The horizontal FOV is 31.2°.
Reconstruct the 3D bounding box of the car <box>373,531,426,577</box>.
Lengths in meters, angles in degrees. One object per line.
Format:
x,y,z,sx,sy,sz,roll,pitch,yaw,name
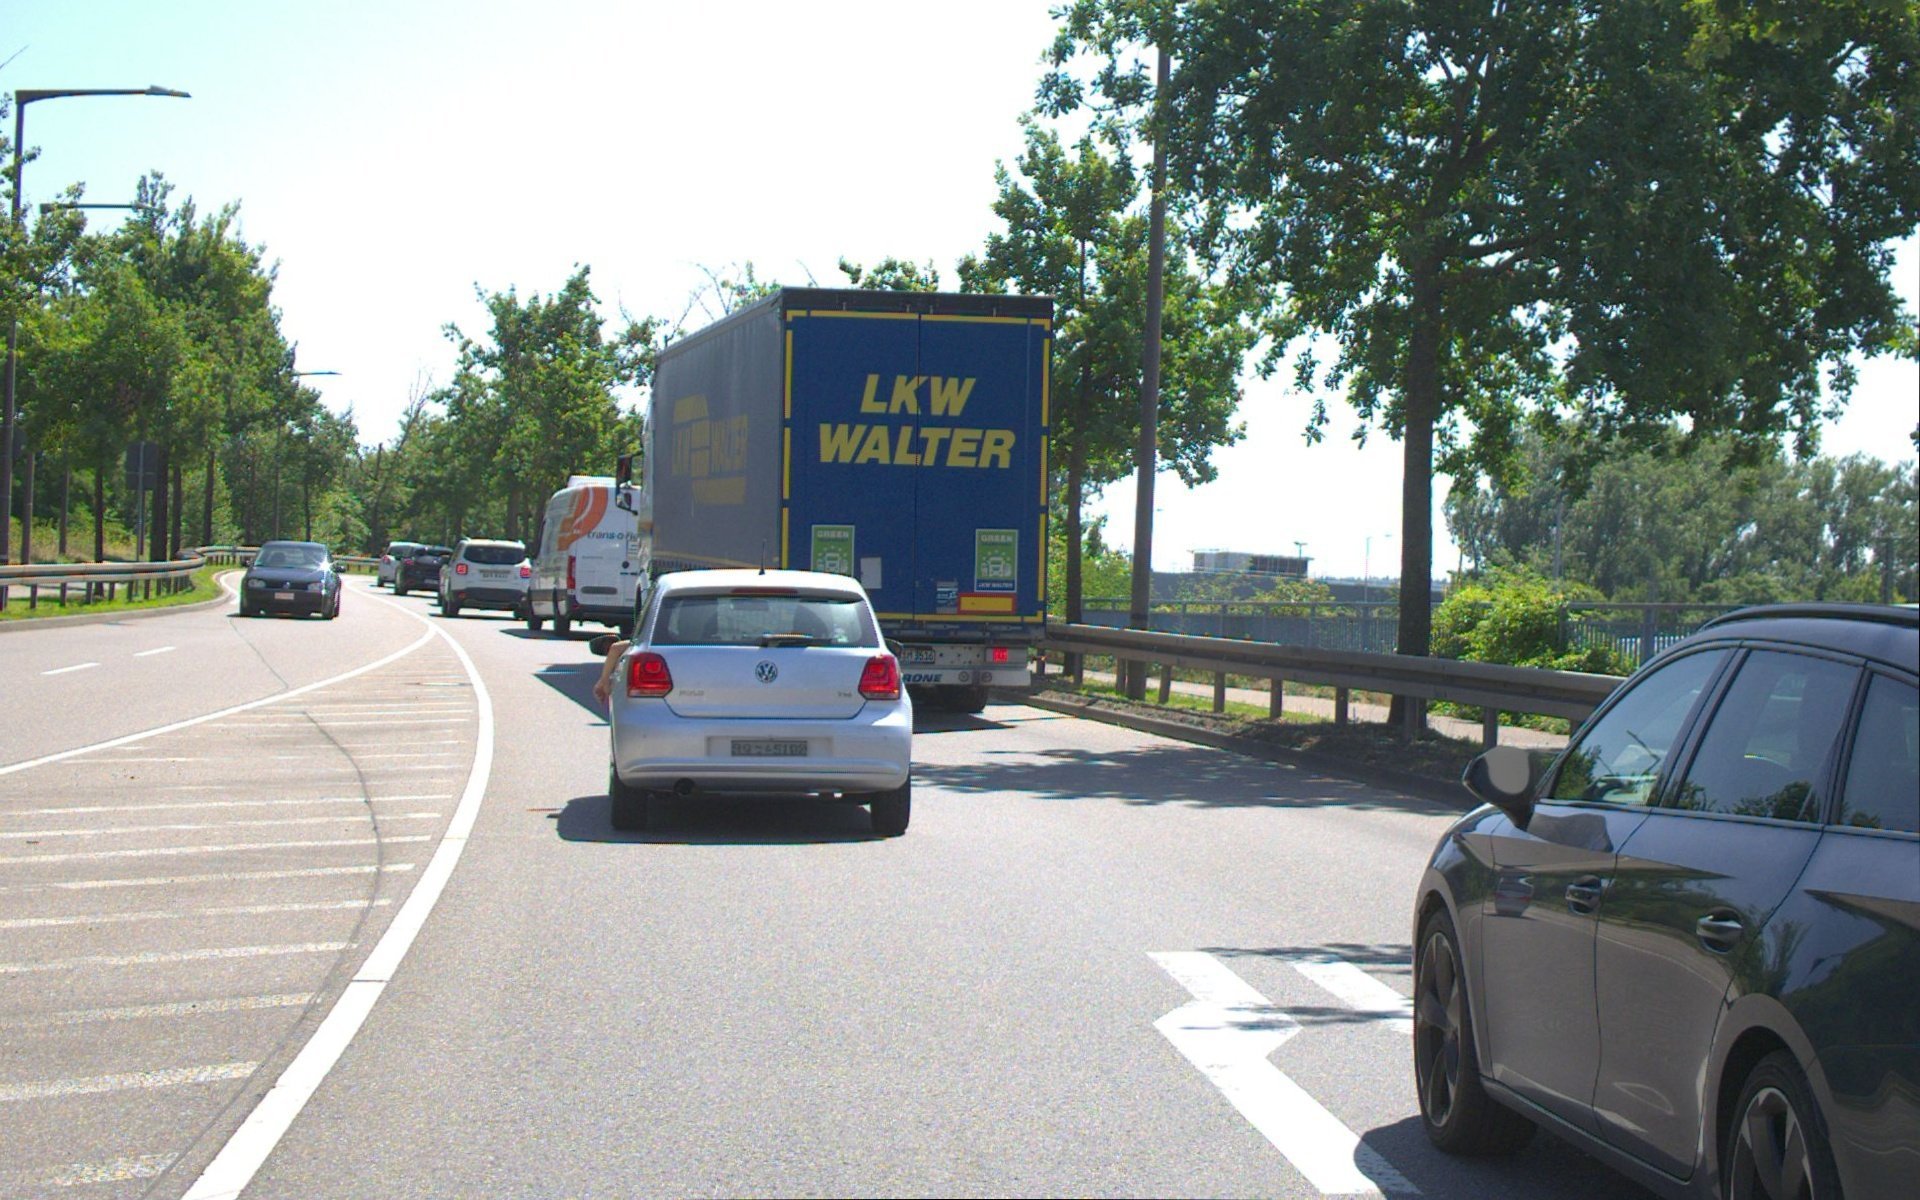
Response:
-17.980,-1.463,110.389,1.607,1.355,3.663,2,0,-9,car

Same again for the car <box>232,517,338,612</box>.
-12.721,-0.693,64.962,1.678,1.665,3.756,1,2,-7,car

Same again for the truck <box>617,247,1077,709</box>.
-1.836,-1.098,39.871,2.832,4.184,16.478,2,0,-10,truck

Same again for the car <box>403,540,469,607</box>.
-14.707,-0.720,96.458,1.721,1.720,4.001,2,-1,-9,car

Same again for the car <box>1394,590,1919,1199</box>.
2.143,0.762,7.162,1.604,1.451,4.235,2,-1,-4,car

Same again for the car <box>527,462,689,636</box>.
-6.358,-0.915,61.376,2.175,2.891,6.360,2,1,-12,car

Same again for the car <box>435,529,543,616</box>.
-10.079,-0.564,73.416,1.903,1.712,4.224,2,-1,-12,car

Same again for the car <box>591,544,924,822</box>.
-1.260,0.474,20.035,1.645,1.434,3.537,2,-1,-8,car
